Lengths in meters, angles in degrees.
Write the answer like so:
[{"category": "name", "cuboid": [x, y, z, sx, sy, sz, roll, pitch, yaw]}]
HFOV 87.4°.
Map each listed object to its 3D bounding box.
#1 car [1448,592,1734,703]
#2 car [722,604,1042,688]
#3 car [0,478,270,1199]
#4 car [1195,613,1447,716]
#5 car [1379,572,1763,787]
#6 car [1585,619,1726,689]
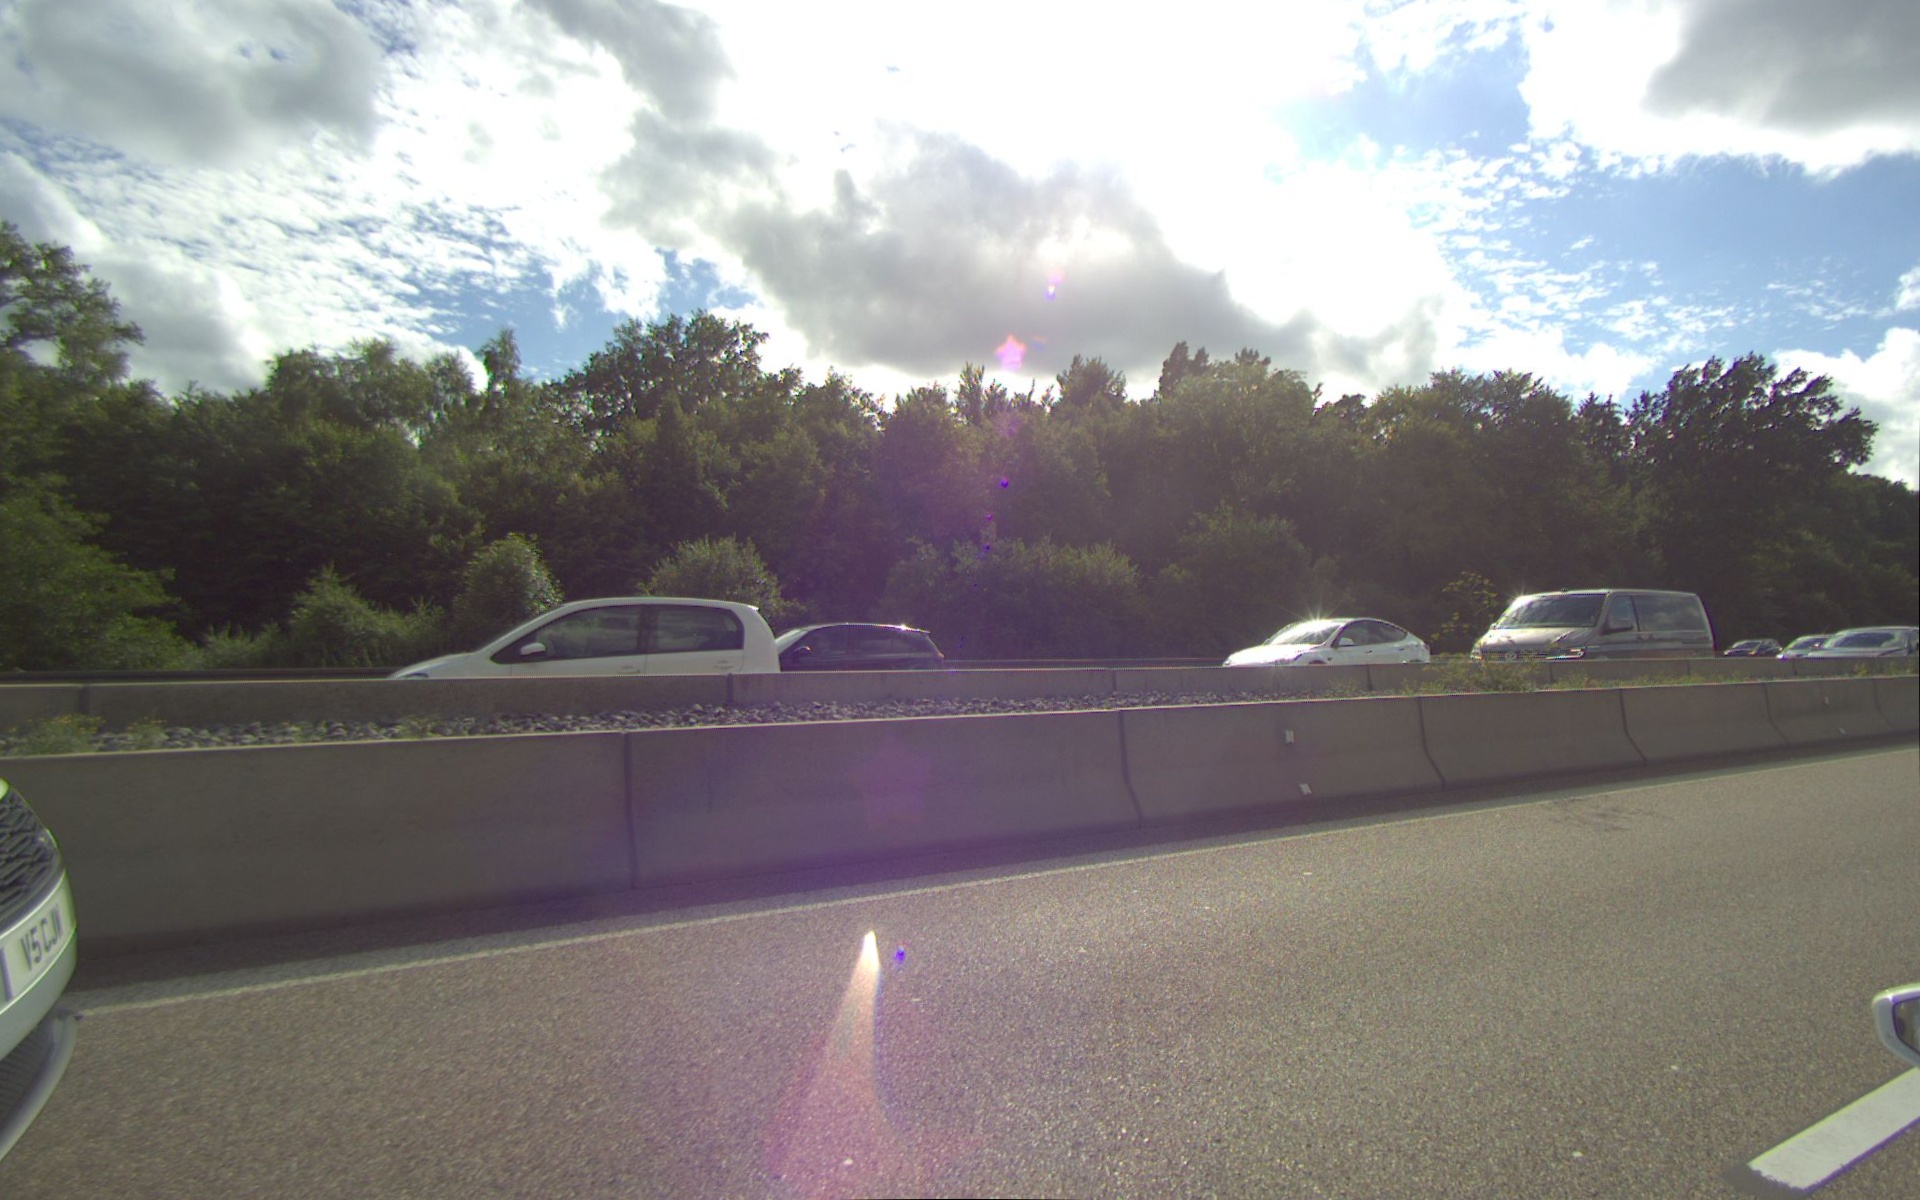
[{"category": "car", "cuboid": [10.434, 0.727, 16.545, 4.757, 1.593, 1.984, 1, 0, -30]}, {"category": "car", "cuboid": [-1.056, 0.591, 13.864, 3.952, 0.983, 1.984, 1, 0, -30]}, {"category": "car", "cuboid": [-3.974, 0.548, 1.178, 5.048, 1.628, 1.890, 2, -1, -32]}, {"category": "car", "cuboid": [7.001, 1.172, 19.361, 4.705, 1.756, 1.984, 1, 0, -30]}, {"category": "car", "cuboid": [6.715, 0.741, 10.991, 3.954, 1.946, 1.984, 1, 0, -31]}, {"category": "car", "cuboid": [22.302, 1.729, 32.189, 4.406, 2.040, 1.984, 3, -1, -30]}]
